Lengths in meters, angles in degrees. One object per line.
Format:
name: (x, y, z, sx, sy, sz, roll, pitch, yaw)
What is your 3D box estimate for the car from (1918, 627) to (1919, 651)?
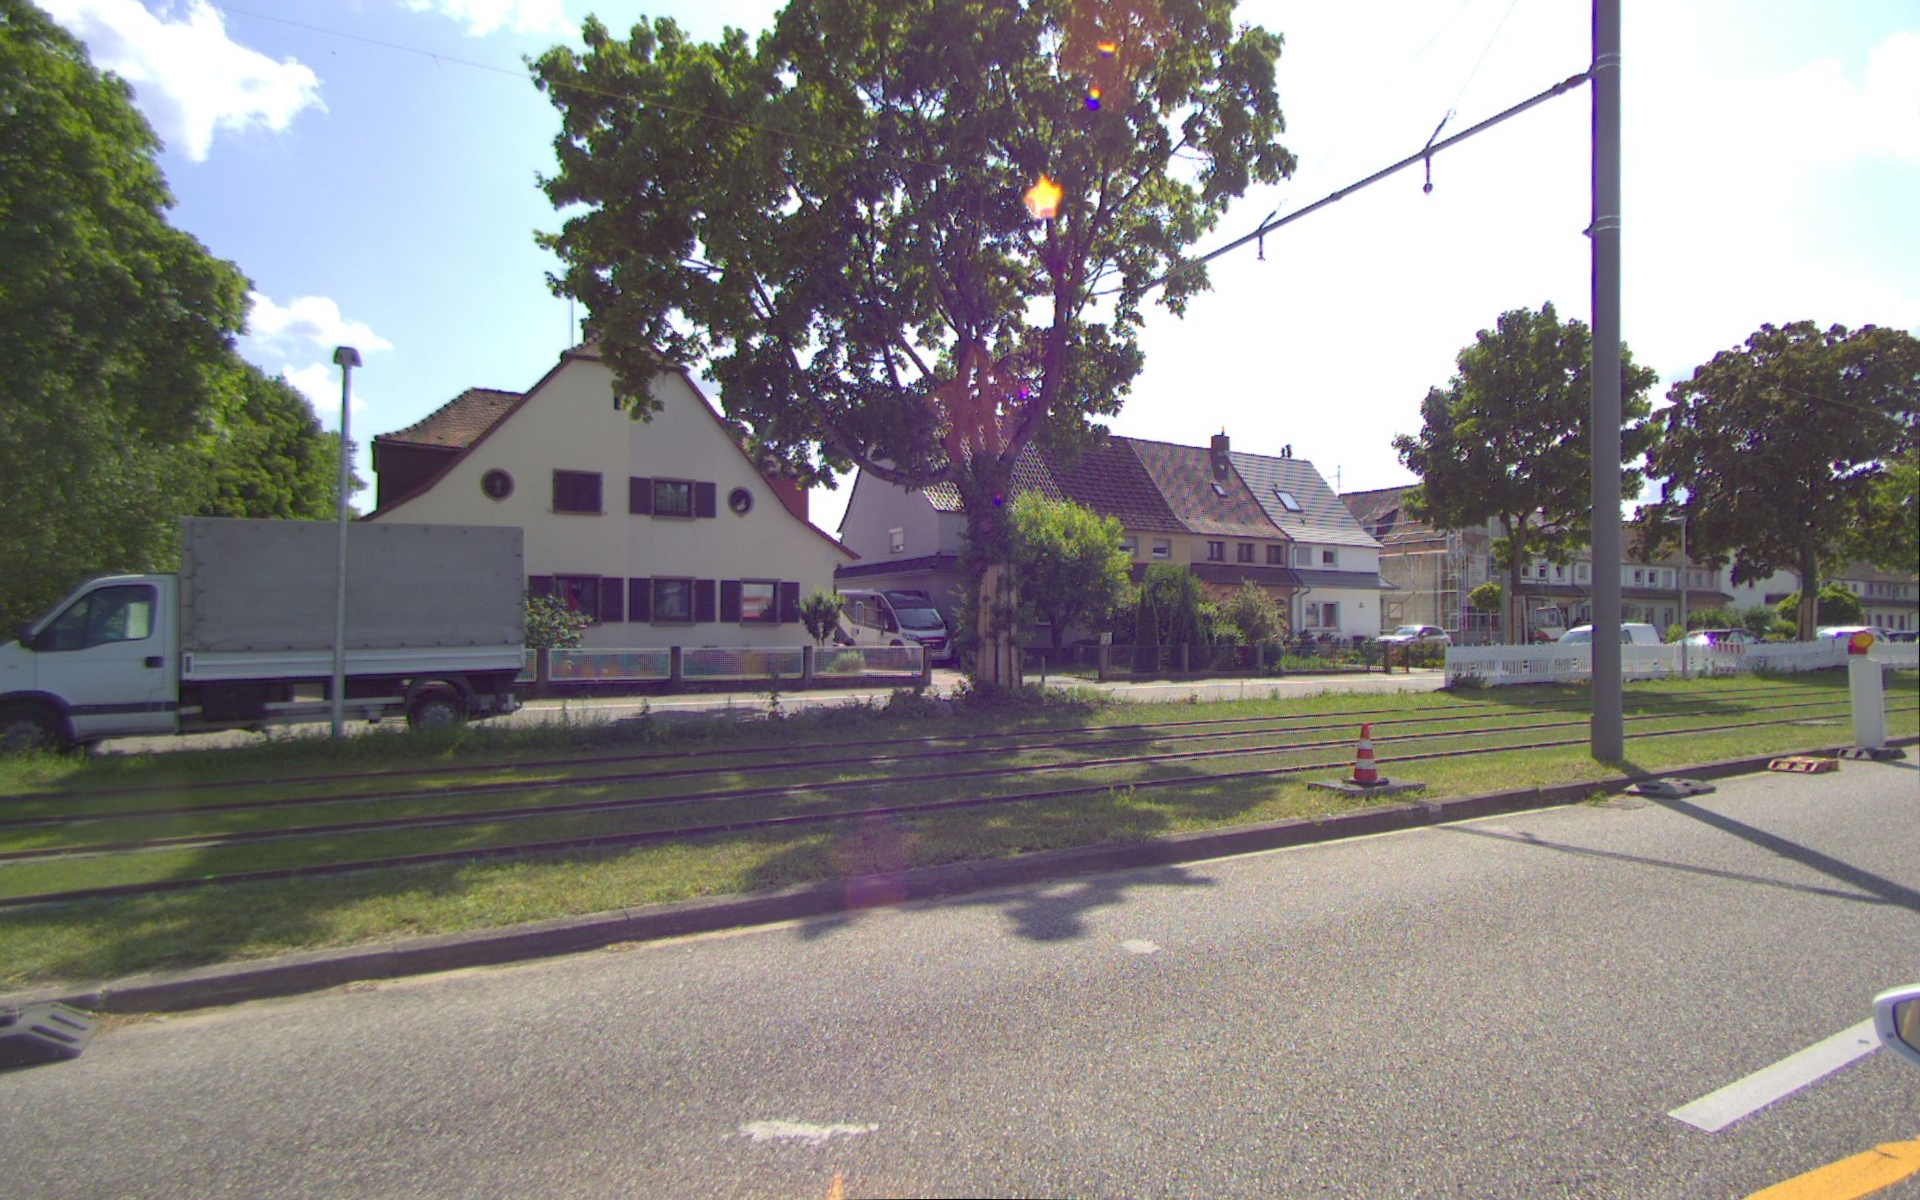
car: (72.138, 2.845, 73.662, 4.013, 1.762, 1.691, 1, -2, -30)

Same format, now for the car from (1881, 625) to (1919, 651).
car: (66.755, 2.681, 70.726, 4.013, 1.762, 1.691, 1, -2, -30)

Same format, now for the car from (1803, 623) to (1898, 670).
car: (34.960, 1.801, 39.420, 3.814, 1.762, 1.691, 1, -2, -30)

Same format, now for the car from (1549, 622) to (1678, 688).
car: (19.501, 1.602, 29.959, 3.814, 1.841, 1.691, 1, -2, -30)

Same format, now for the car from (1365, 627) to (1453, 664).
car: (19.890, 1.990, 44.479, 3.814, 1.614, 1.691, 1, -2, -30)

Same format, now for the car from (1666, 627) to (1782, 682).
car: (25.746, 1.797, 33.825, 4.006, 1.762, 1.691, 1, -2, -30)

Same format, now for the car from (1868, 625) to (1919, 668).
car: (40.389, 1.959, 42.598, 3.814, 1.762, 1.691, 1, -2, -30)

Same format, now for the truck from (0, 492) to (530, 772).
truck: (-8.800, 0.409, 12.936, 5.805, 3.027, 1.994, 1, -2, -30)

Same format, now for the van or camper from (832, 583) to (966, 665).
van or camper: (-2.351, 0.903, 36.652, 2.224, 2.745, 5.963, 1, -2, -33)
